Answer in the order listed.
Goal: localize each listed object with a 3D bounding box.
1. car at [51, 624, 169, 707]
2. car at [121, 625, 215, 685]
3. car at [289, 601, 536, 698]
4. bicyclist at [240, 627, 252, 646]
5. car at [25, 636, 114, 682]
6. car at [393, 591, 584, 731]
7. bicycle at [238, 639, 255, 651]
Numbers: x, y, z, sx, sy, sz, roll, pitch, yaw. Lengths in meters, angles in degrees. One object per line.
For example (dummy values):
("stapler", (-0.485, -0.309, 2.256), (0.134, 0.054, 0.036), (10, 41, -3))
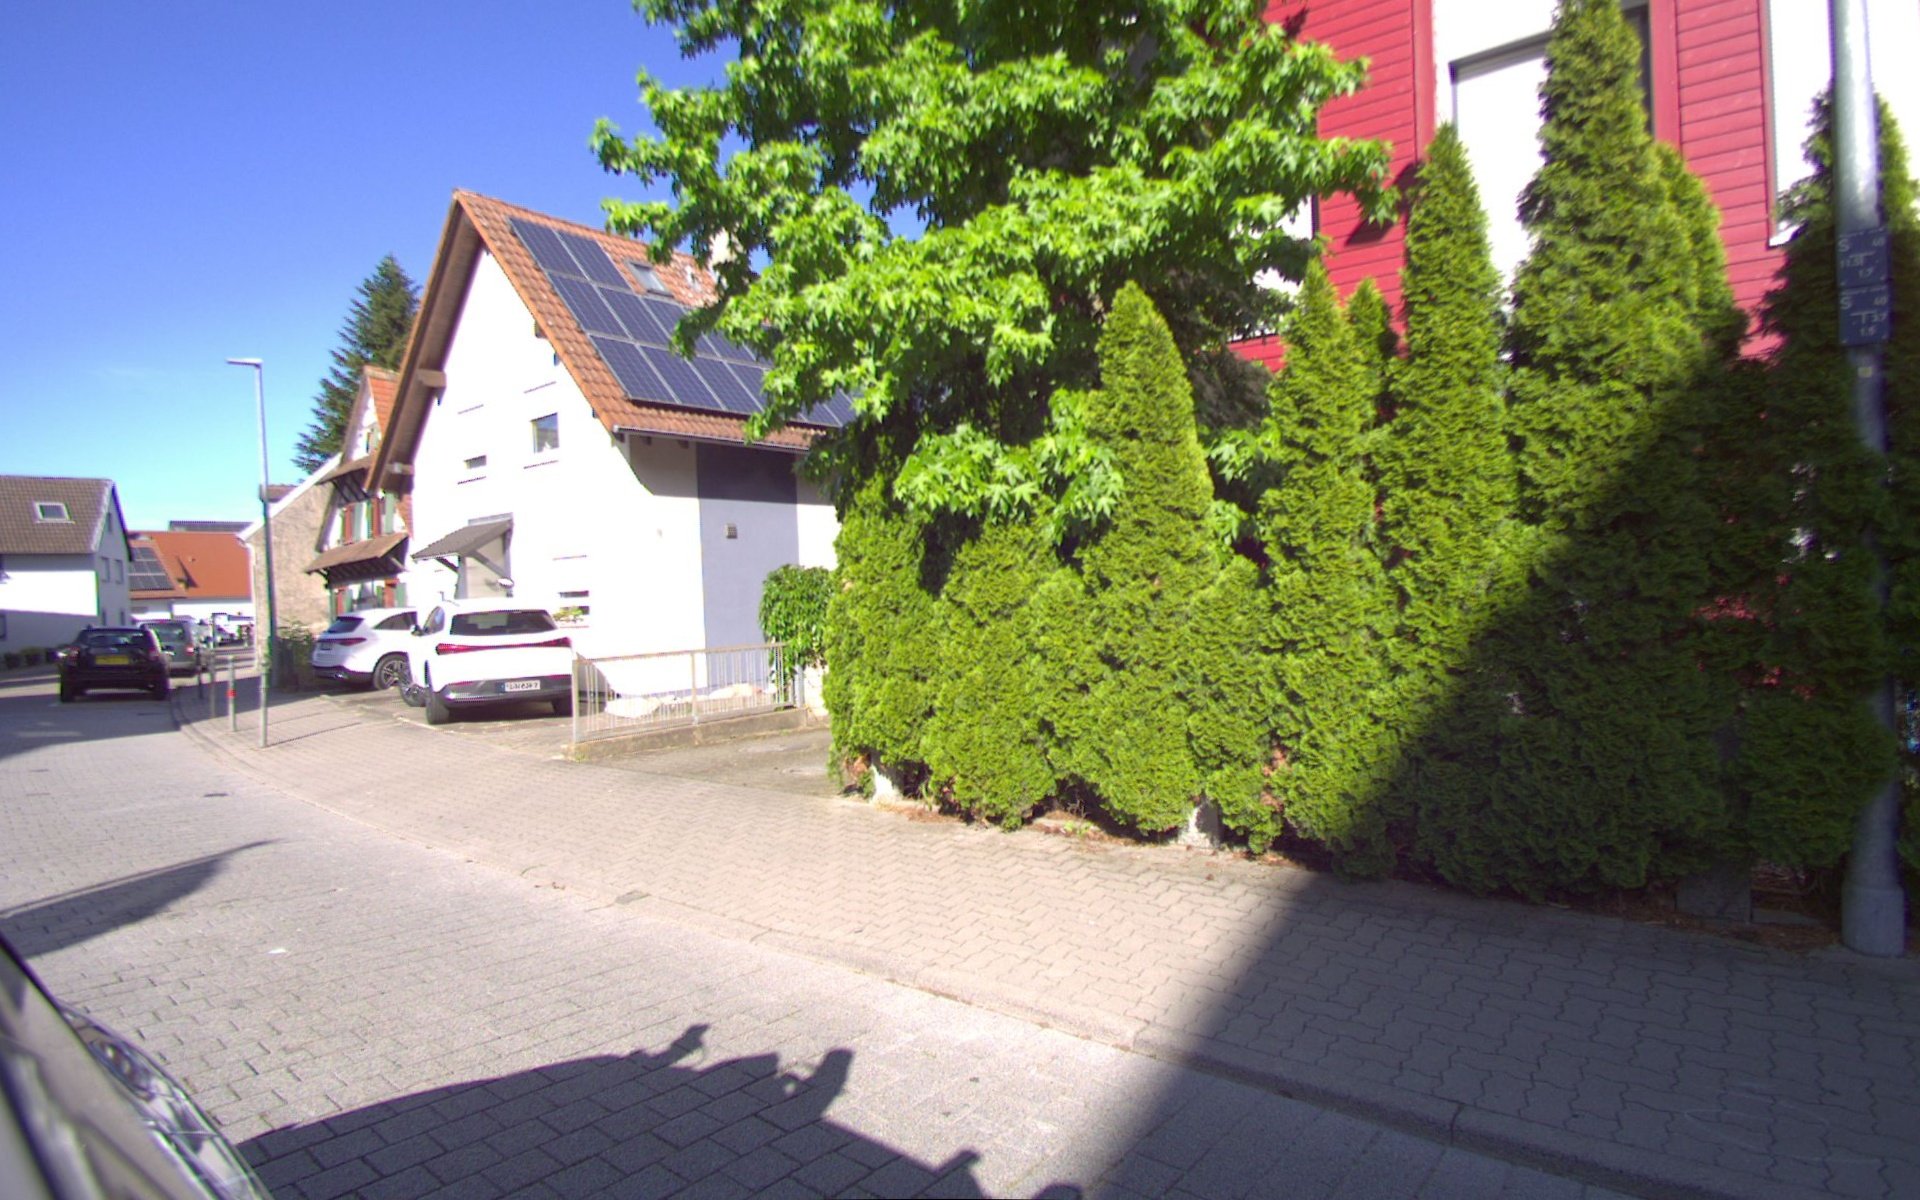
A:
("car", (-19.084, 1.406, 22.886), (1.808, 1.684, 4.362), (1, -2, -37))
("car", (-25.230, 1.728, 32.382), (1.807, 1.803, 4.365), (1, -3, -31))
("car", (-11.135, 0.949, 20.804), (1.997, 1.601, 3.949), (-3, 1, 38))
("bicyclist", (-49.572, 2.534, 70.230), (0.573, 1.330, 0.610), (0, -2, -23))
("car", (-32.399, 2.107, 36.935), (1.778, 1.489, 4.356), (0, -1, -32))
("car", (-6.928, 0.775, 14.595), (1.793, 1.607, 4.457), (-3, 1, -33))
("bicycle", (-49.562, 3.136, 70.283), (0.573, 0.767, 1.805), (0, -2, -23))
